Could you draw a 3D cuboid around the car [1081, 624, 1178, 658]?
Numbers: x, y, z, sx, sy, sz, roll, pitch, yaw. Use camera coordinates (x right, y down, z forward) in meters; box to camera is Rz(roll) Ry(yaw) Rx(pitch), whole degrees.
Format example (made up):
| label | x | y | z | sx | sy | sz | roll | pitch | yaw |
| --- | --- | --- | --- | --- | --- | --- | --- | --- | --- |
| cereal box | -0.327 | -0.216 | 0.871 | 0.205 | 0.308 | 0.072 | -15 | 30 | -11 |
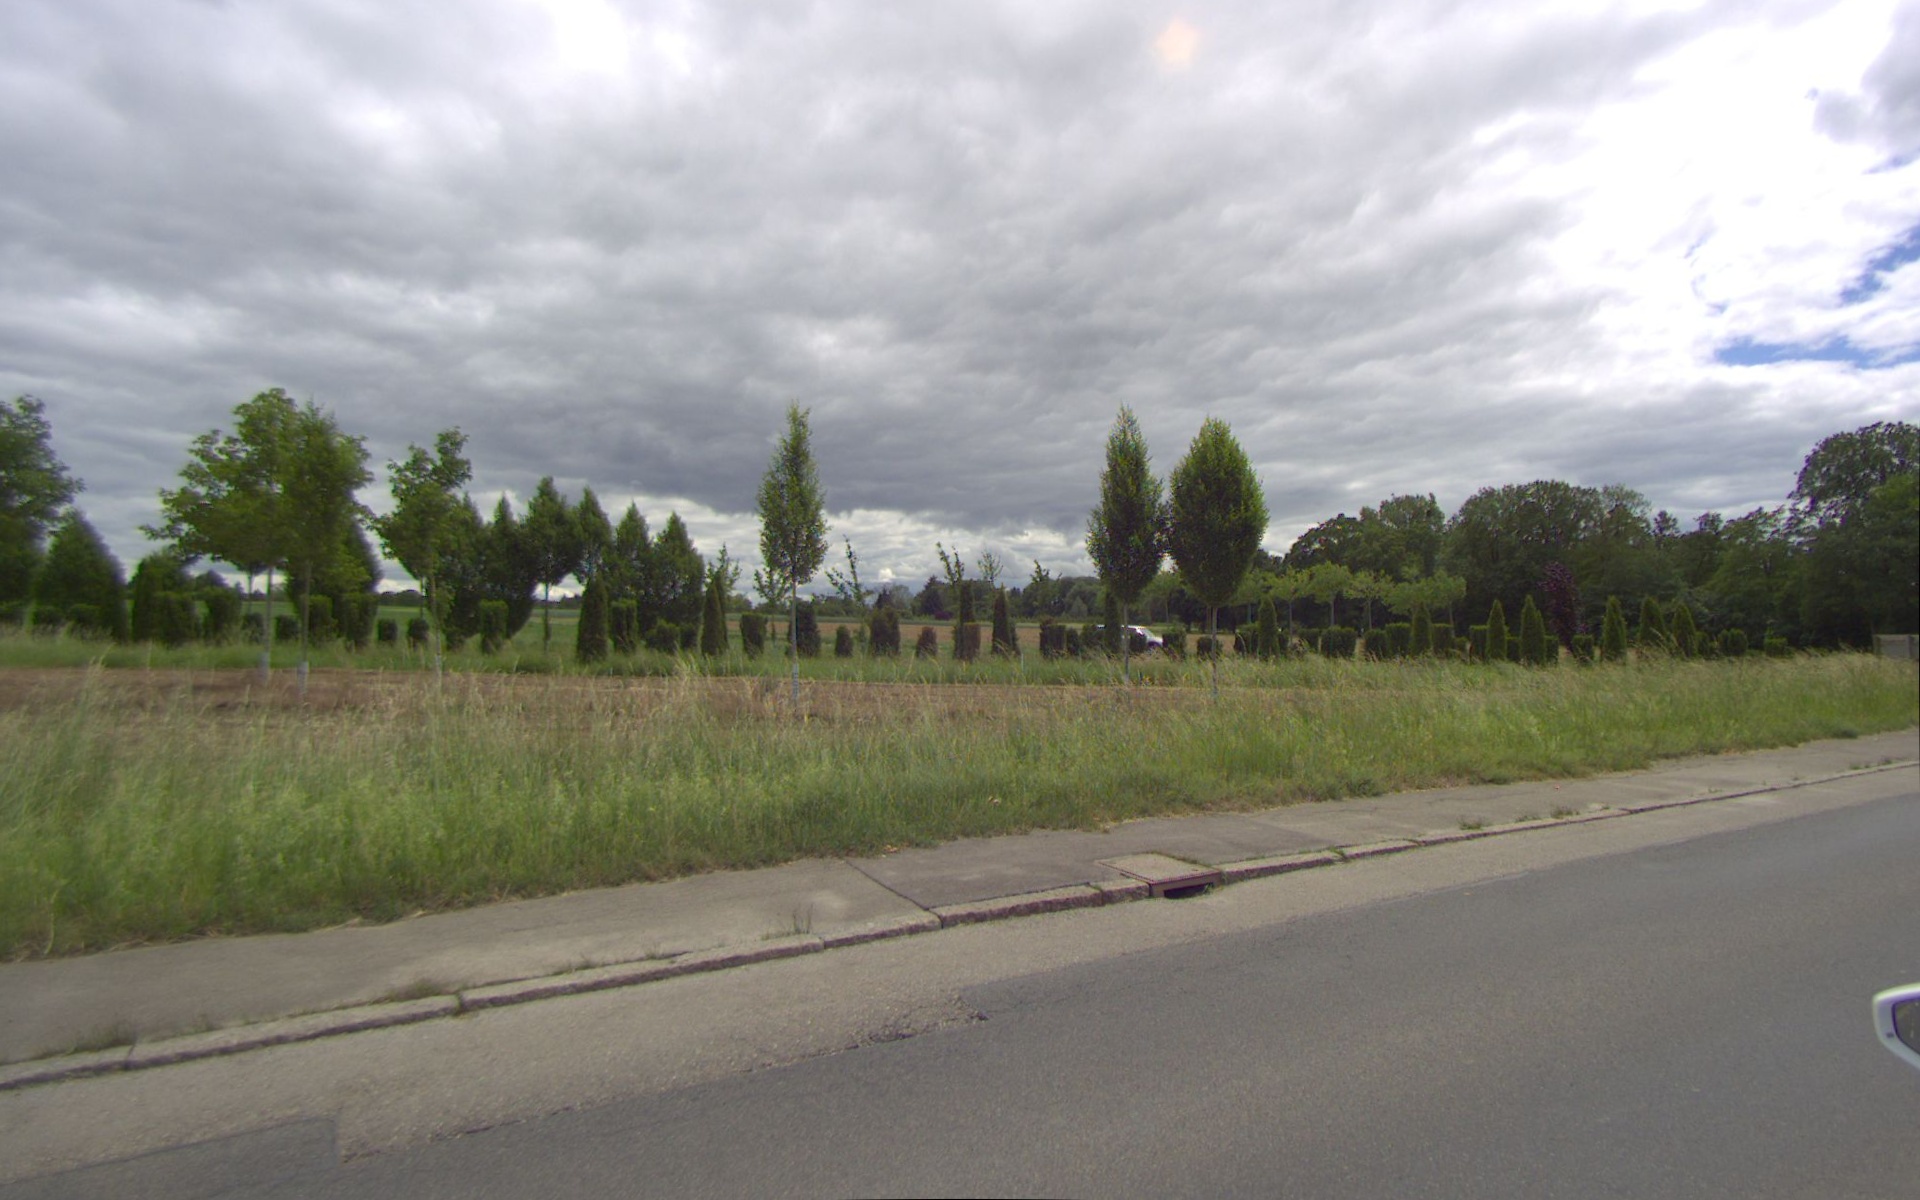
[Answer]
| label | x | y | z | sx | sy | sz | roll | pitch | yaw |
| --- | --- | --- | --- | --- | --- | --- | --- | --- | --- |
| car | 7.650 | 1.838 | 45.356 | 3.929 | 1.472 | 1.972 | -1 | -2 | 30 |
